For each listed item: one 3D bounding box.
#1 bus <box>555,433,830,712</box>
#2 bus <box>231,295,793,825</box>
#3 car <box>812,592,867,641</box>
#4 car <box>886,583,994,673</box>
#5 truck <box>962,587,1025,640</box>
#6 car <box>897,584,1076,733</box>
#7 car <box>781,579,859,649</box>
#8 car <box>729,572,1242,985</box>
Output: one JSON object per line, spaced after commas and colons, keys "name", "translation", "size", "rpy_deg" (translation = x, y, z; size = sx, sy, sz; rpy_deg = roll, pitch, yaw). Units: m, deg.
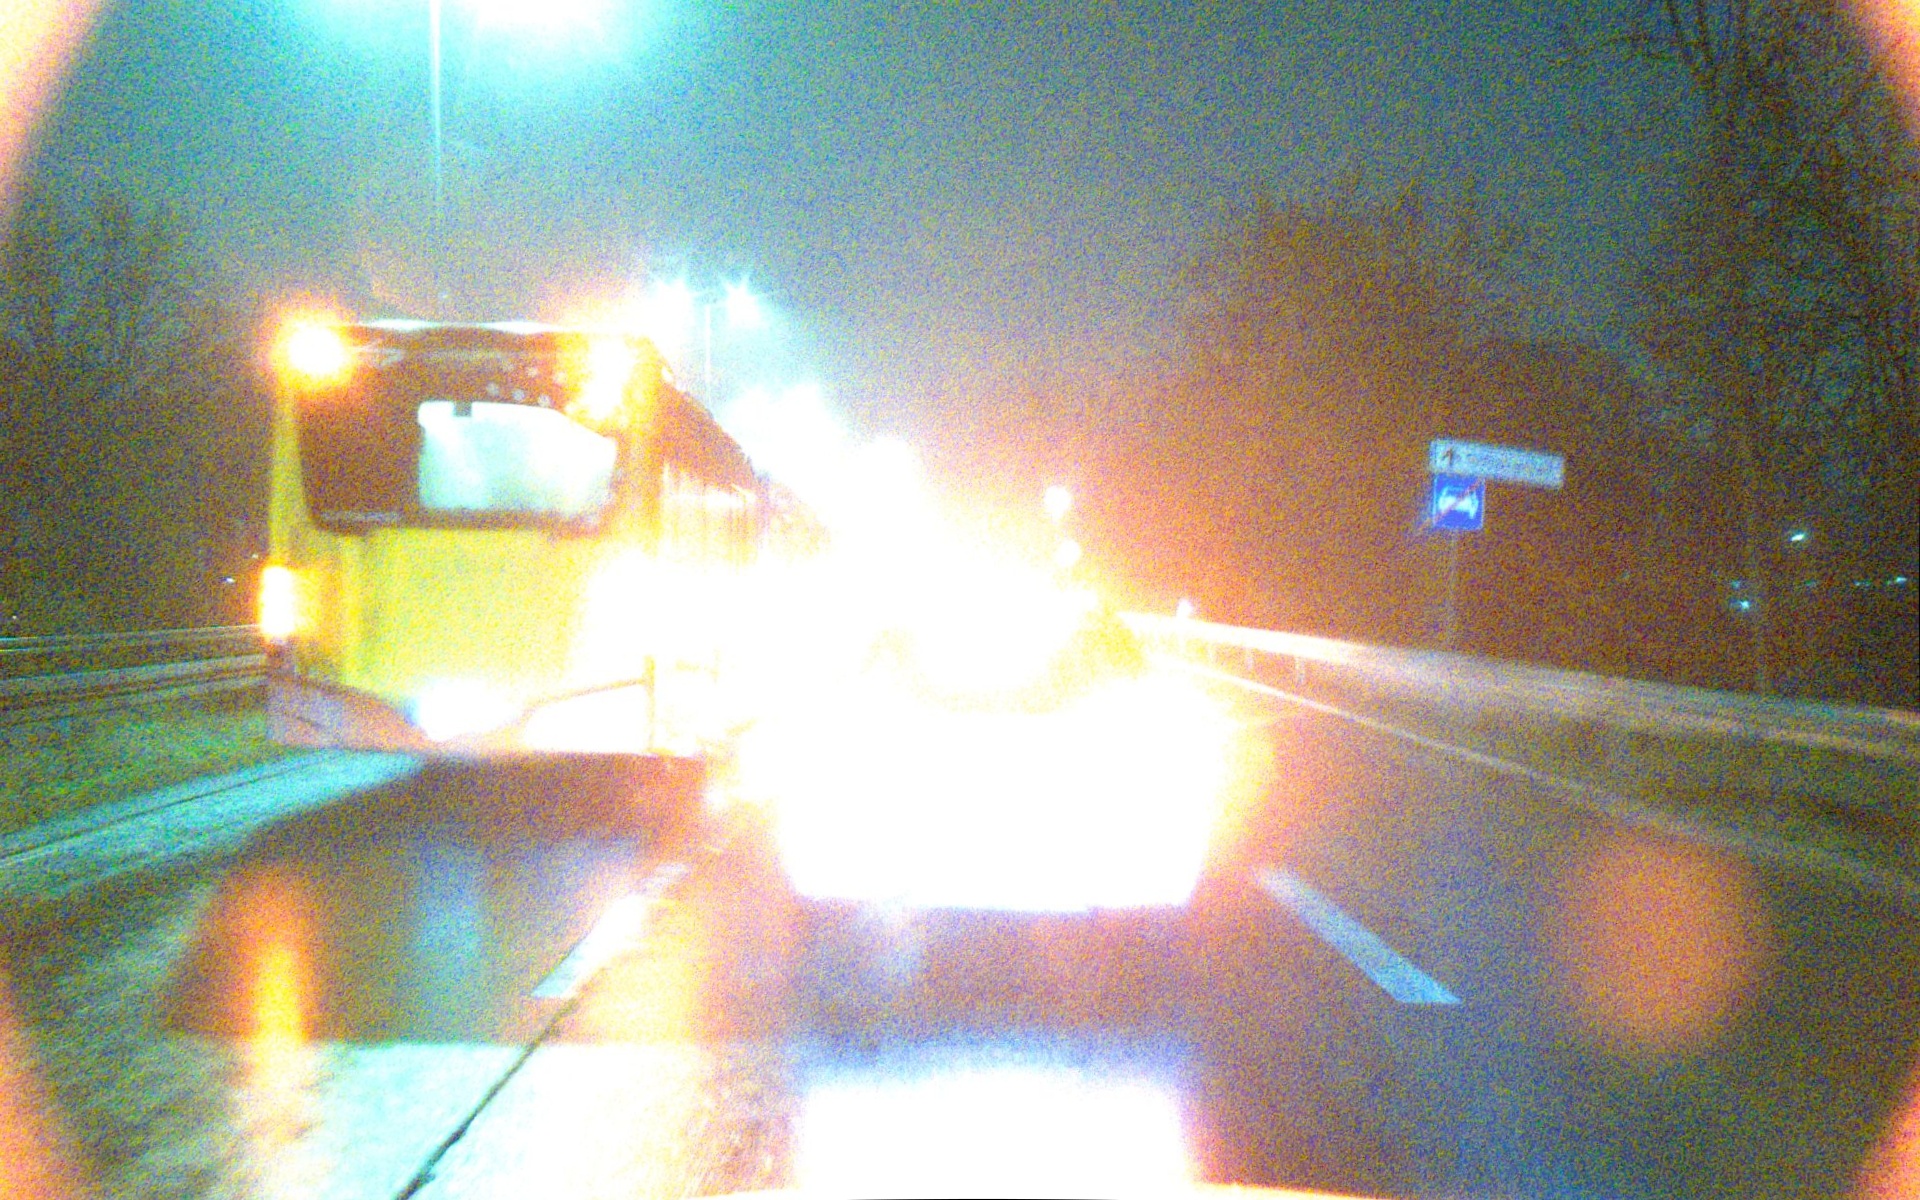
{"name": "bus", "translation": [-3.480, -0.368, 23.788], "size": [2.688, 3.178, 8.701], "rpy_deg": [2, 1, -2]}
{"name": "bus", "translation": [-3.218, -0.290, 14.804], "size": [2.688, 3.178, 9.198], "rpy_deg": [2, 1, -2]}
{"name": "car", "translation": [-3.948, 0.554, 54.689], "size": [1.526, 1.513, 3.808], "rpy_deg": [2, -1, -1]}
{"name": "car", "translation": [-0.361, 0.471, 29.571], "size": [1.785, 1.487, 3.715], "rpy_deg": [1, 0, -1]}
{"name": "truck", "translation": [1.796, 0.731, 85.931], "size": [3.006, 2.573, 7.168], "rpy_deg": [2, -1, 3]}
{"name": "car", "translation": [0.239, 0.590, 18.530], "size": [1.785, 1.487, 3.715], "rpy_deg": [1, 0, -1]}
{"name": "car", "translation": [-3.284, 0.346, 39.362], "size": [1.526, 1.513, 3.808], "rpy_deg": [2, -1, -1]}
{"name": "car", "translation": [0.129, 0.668, 8.053], "size": [1.904, 1.517, 3.716], "rpy_deg": [1, 0, 1]}
